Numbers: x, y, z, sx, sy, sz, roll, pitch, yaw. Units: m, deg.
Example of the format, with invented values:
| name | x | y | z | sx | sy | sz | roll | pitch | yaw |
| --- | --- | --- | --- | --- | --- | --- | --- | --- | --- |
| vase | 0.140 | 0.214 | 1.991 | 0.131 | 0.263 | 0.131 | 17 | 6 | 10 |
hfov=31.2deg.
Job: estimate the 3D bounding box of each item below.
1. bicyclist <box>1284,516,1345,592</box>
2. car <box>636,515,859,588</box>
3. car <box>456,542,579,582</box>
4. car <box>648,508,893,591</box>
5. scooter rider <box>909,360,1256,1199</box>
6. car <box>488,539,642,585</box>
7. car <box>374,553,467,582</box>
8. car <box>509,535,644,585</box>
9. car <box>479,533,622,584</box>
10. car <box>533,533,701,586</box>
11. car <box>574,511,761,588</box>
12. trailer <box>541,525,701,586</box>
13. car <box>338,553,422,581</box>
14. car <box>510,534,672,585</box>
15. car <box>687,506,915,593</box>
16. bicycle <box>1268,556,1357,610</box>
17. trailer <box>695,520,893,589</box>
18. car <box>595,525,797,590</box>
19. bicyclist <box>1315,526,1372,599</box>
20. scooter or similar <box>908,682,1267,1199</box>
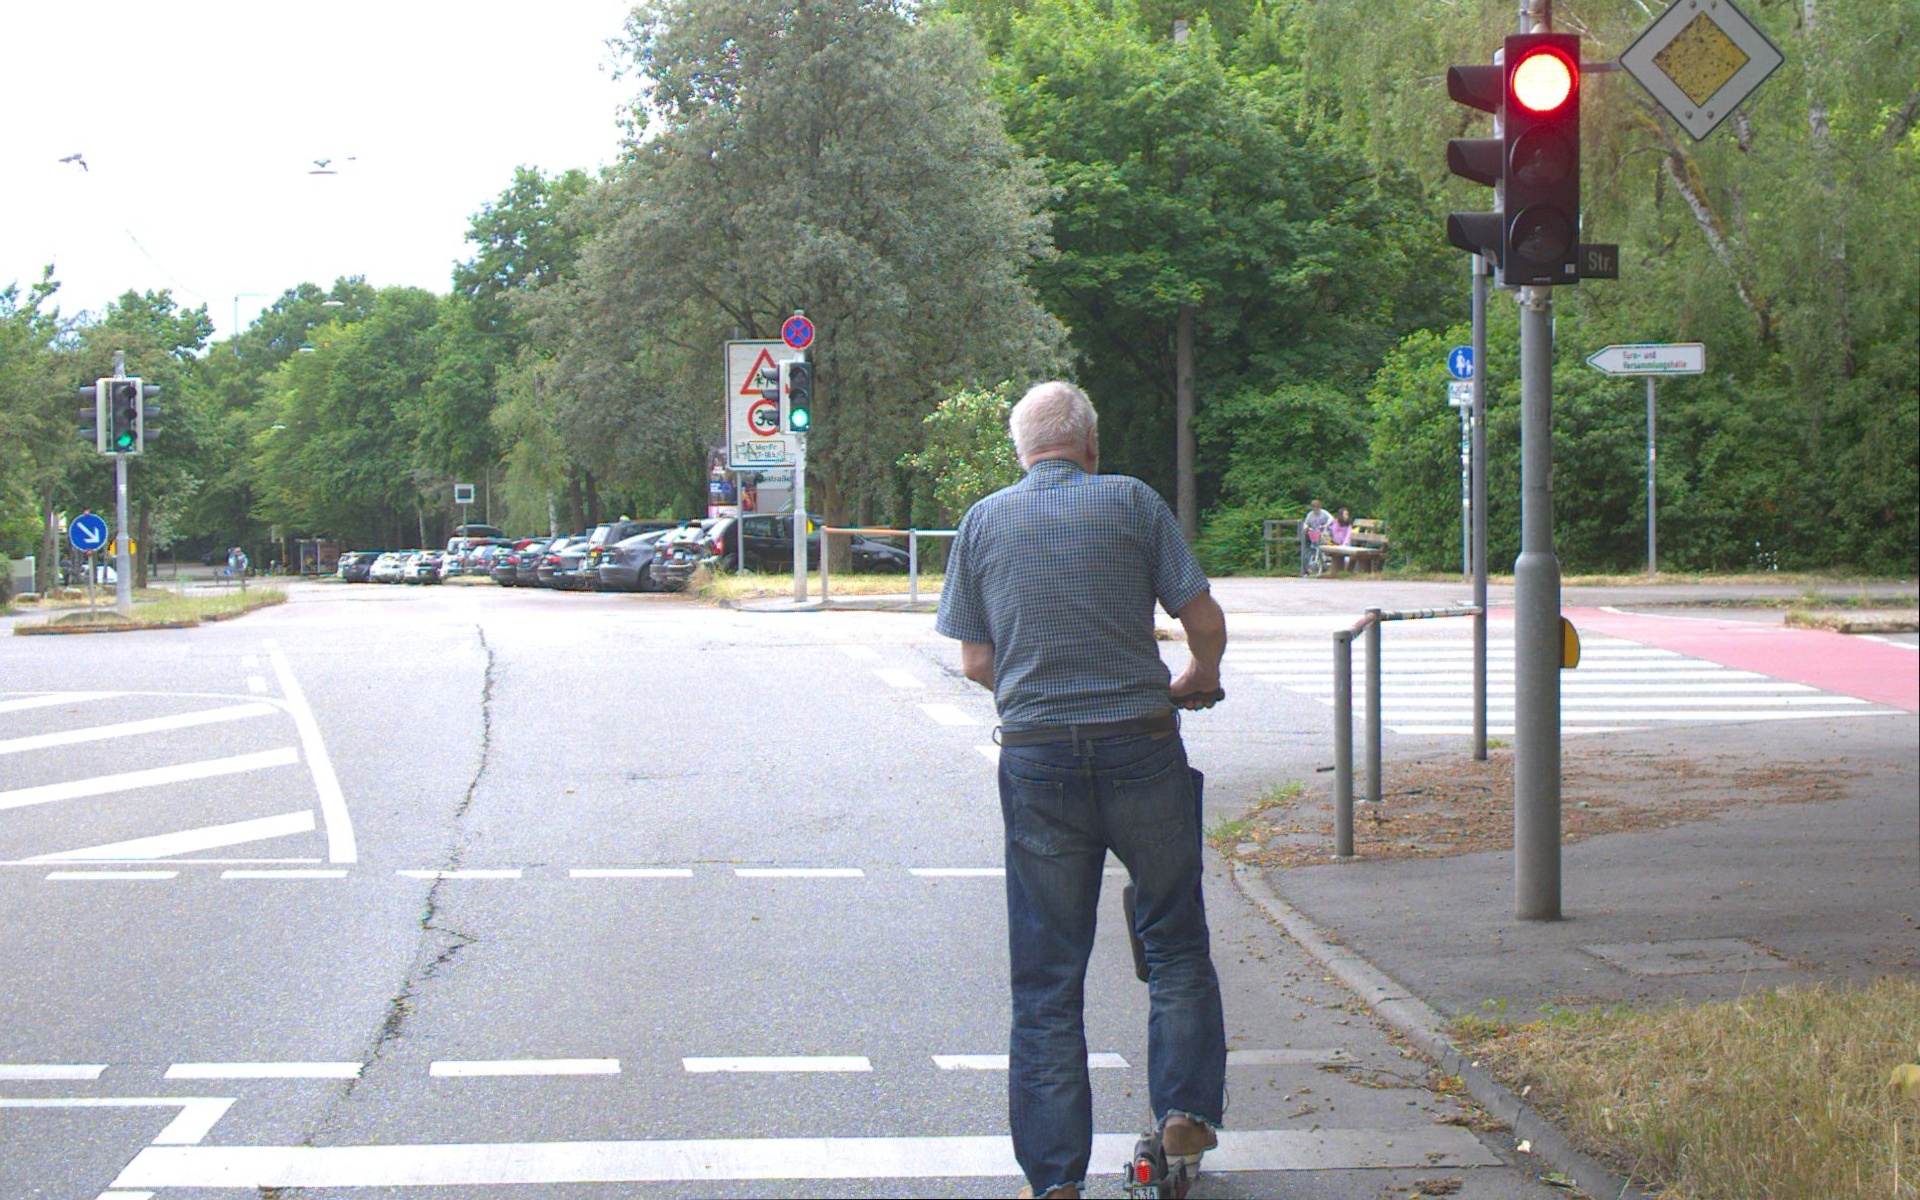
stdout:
| name | x | y | z | sx | sy | sz | roll | pitch | yaw |
| --- | --- | --- | --- | --- | --- | --- | --- | --- | --- |
| bicyclist | 5.714 | -0.752 | 55.418 | 0.641 | 1.157 | 0.802 | 4 | 5 | 37 |
| car | -4.329 | -0.992 | 70.019 | 4.218 | 1.459 | 1.635 | -1 | 1 | -20 |
| car | -15.712 | -1.351 | 122.041 | 3.964 | 1.401 | 1.757 | 0 | 0 | -26 |
| car | -3.426 | -0.923 | 62.279 | 4.134 | 1.471 | 1.577 | -1 | 0 | -22 |
| scooter rider | 0.261 | 0.364 | 7.391 | 0.681 | 1.724 | 1.197 | 0 | 2 | 2 |
| car | -11.995 | -1.158 | 104.373 | 4.312 | 1.336 | 1.734 | -1 | 0 | -25 |
| car | -24.923 | -1.519 | 158.778 | 3.885 | 1.305 | 1.743 | -1 | 0 | -36 |
| car | -11.359 | -1.191 | 101.879 | 3.610 | 1.440 | 1.634 | -1 | 1 | -27 |
| car | -12.752 | -1.292 | 107.122 | 4.072 | 1.510 | 1.733 | -1 | 1 | -34 |
| car | -8.883 | -1.041 | 89.010 | 4.036 | 1.323 | 1.560 | -1 | 0 | -20 |
| car | -6.748 | -1.164 | 79.275 | 3.985 | 1.719 | 1.681 | -1 | 0 | -21 |
| trailer | -8.556 | -1.115 | 86.661 | 3.687 | 1.530 | 1.646 | 0 | 1 | -23 |
| car | -29.795 | -1.702 | 176.526 | 3.884 | 1.424 | 1.743 | -1 | 0 | -31 |
| car | -10.618 | -1.171 | 99.079 | 4.343 | 1.440 | 1.634 | -1 | 1 | -26 |
| car | -2.779 | -0.886 | 59.773 | 3.714 | 1.471 | 1.577 | -1 | 1 | -14 |
| bicycle | 5.693 | -0.280 | 55.450 | 0.641 | 0.756 | 1.677 | 4 | 5 | 37 |
| trailer | -3.155 | -0.863 | 65.261 | 3.401 | 1.262 | 1.617 | -1 | 0 | -21 |
| car | -5.883 | -0.945 | 76.719 | 4.158 | 1.402 | 1.698 | -1 | 0 | -22 |
| bicyclist | 6.364 | -0.624 | 56.996 | 0.519 | 1.183 | 0.965 | -2 | 0 | 34 |
| scooter or similar | 0.265 | 0.792 | 7.290 | 0.681 | 1.135 | 1.460 | 0 | 3 | 2 |
